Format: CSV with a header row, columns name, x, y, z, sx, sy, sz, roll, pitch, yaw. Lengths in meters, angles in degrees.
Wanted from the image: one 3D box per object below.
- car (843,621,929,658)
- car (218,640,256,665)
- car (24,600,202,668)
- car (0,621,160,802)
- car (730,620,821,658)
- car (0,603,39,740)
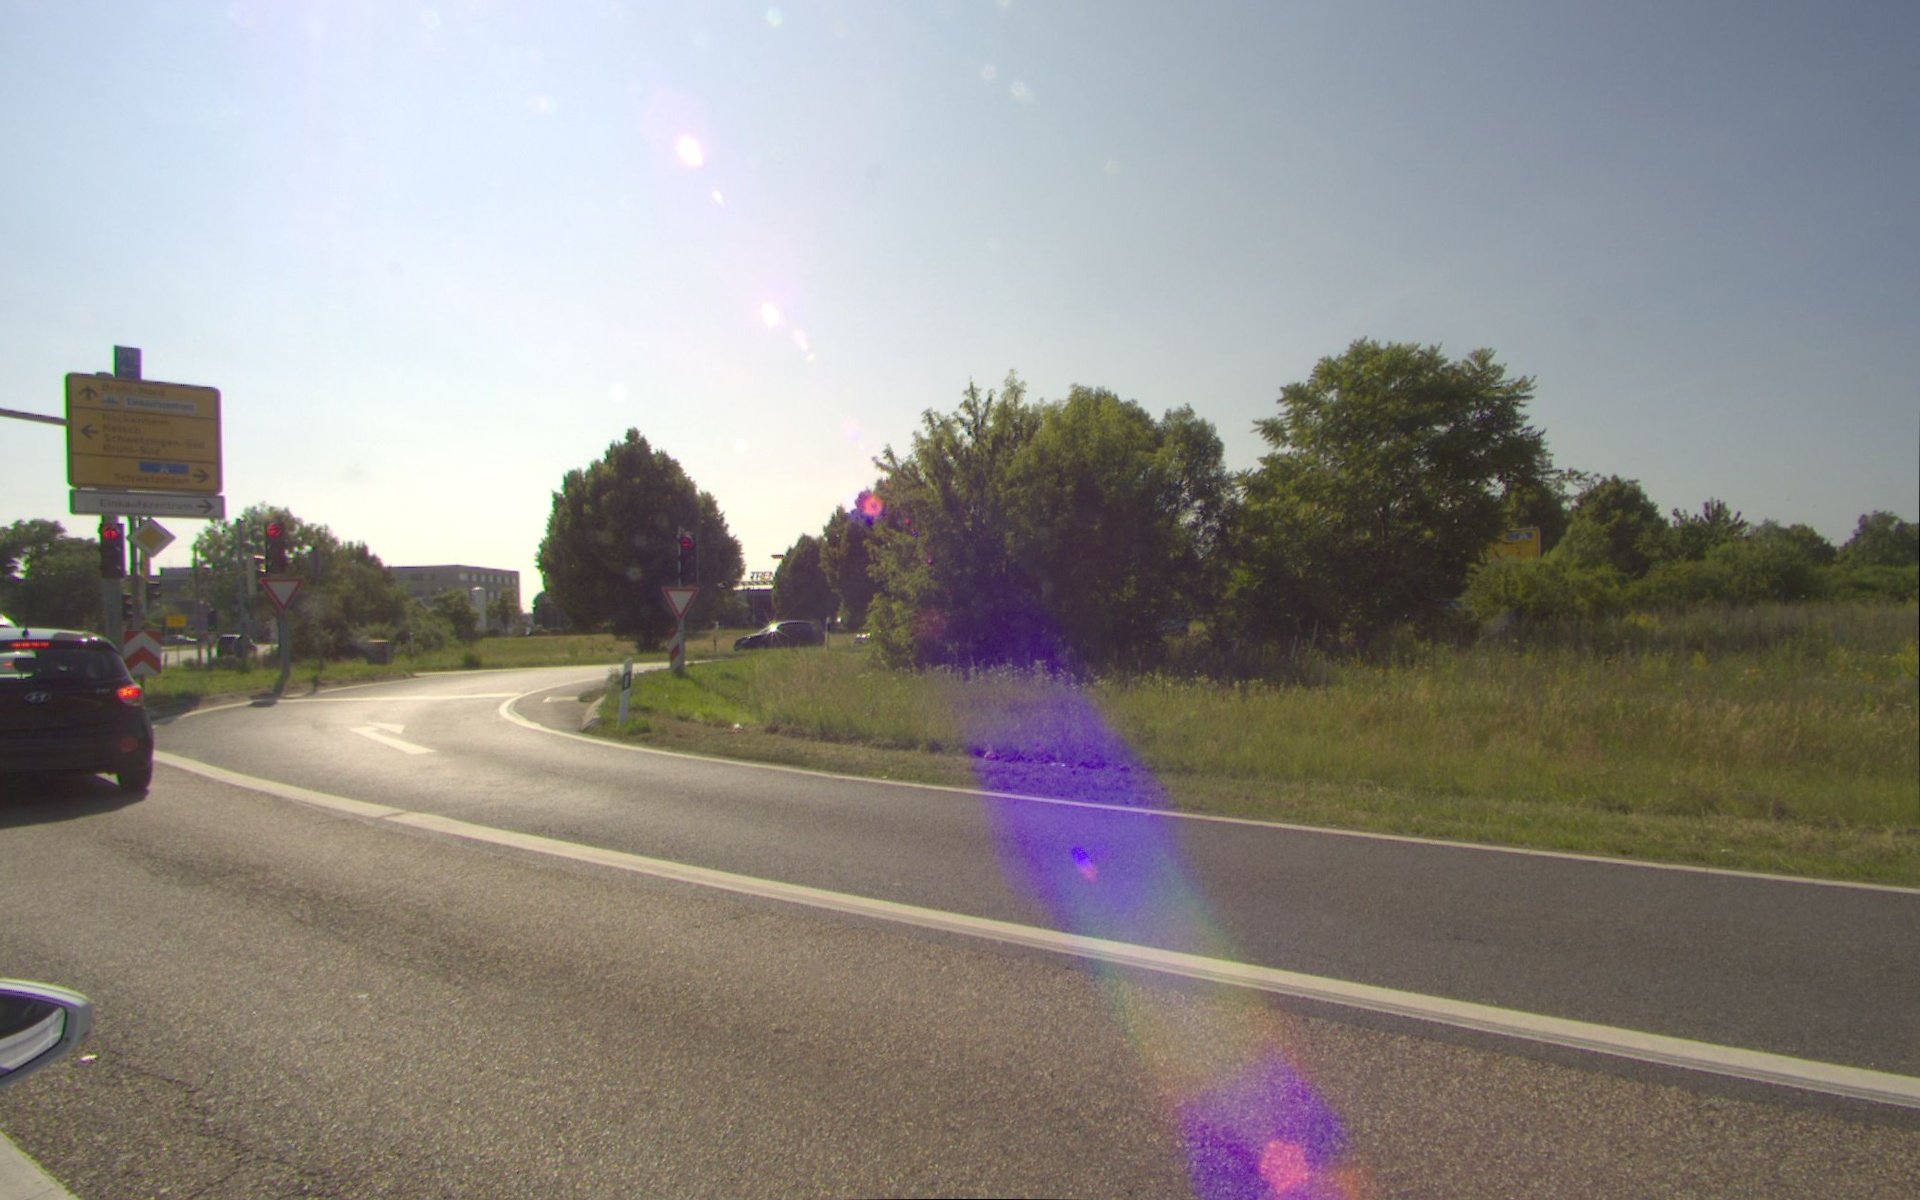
name,x,y,z,sx,sy,sz,roll,pitch,yaw
car,-3.635,1.914,49.242,3.836,1.717,1.814,0,-1,-36
car,-51.744,3.746,71.717,1.857,1.694,3.749,1,-3,-32
car,-26.240,1.025,31.198,3.962,1.978,1.688,0,-1,-30
car,-8.906,0.940,9.337,3.255,1.466,1.626,-1,-2,39
car,-7.734,1.656,42.133,3.495,1.535,1.455,1,-2,-30
car,-13.674,0.925,13.293,3.705,1.698,1.626,-2,-2,39
